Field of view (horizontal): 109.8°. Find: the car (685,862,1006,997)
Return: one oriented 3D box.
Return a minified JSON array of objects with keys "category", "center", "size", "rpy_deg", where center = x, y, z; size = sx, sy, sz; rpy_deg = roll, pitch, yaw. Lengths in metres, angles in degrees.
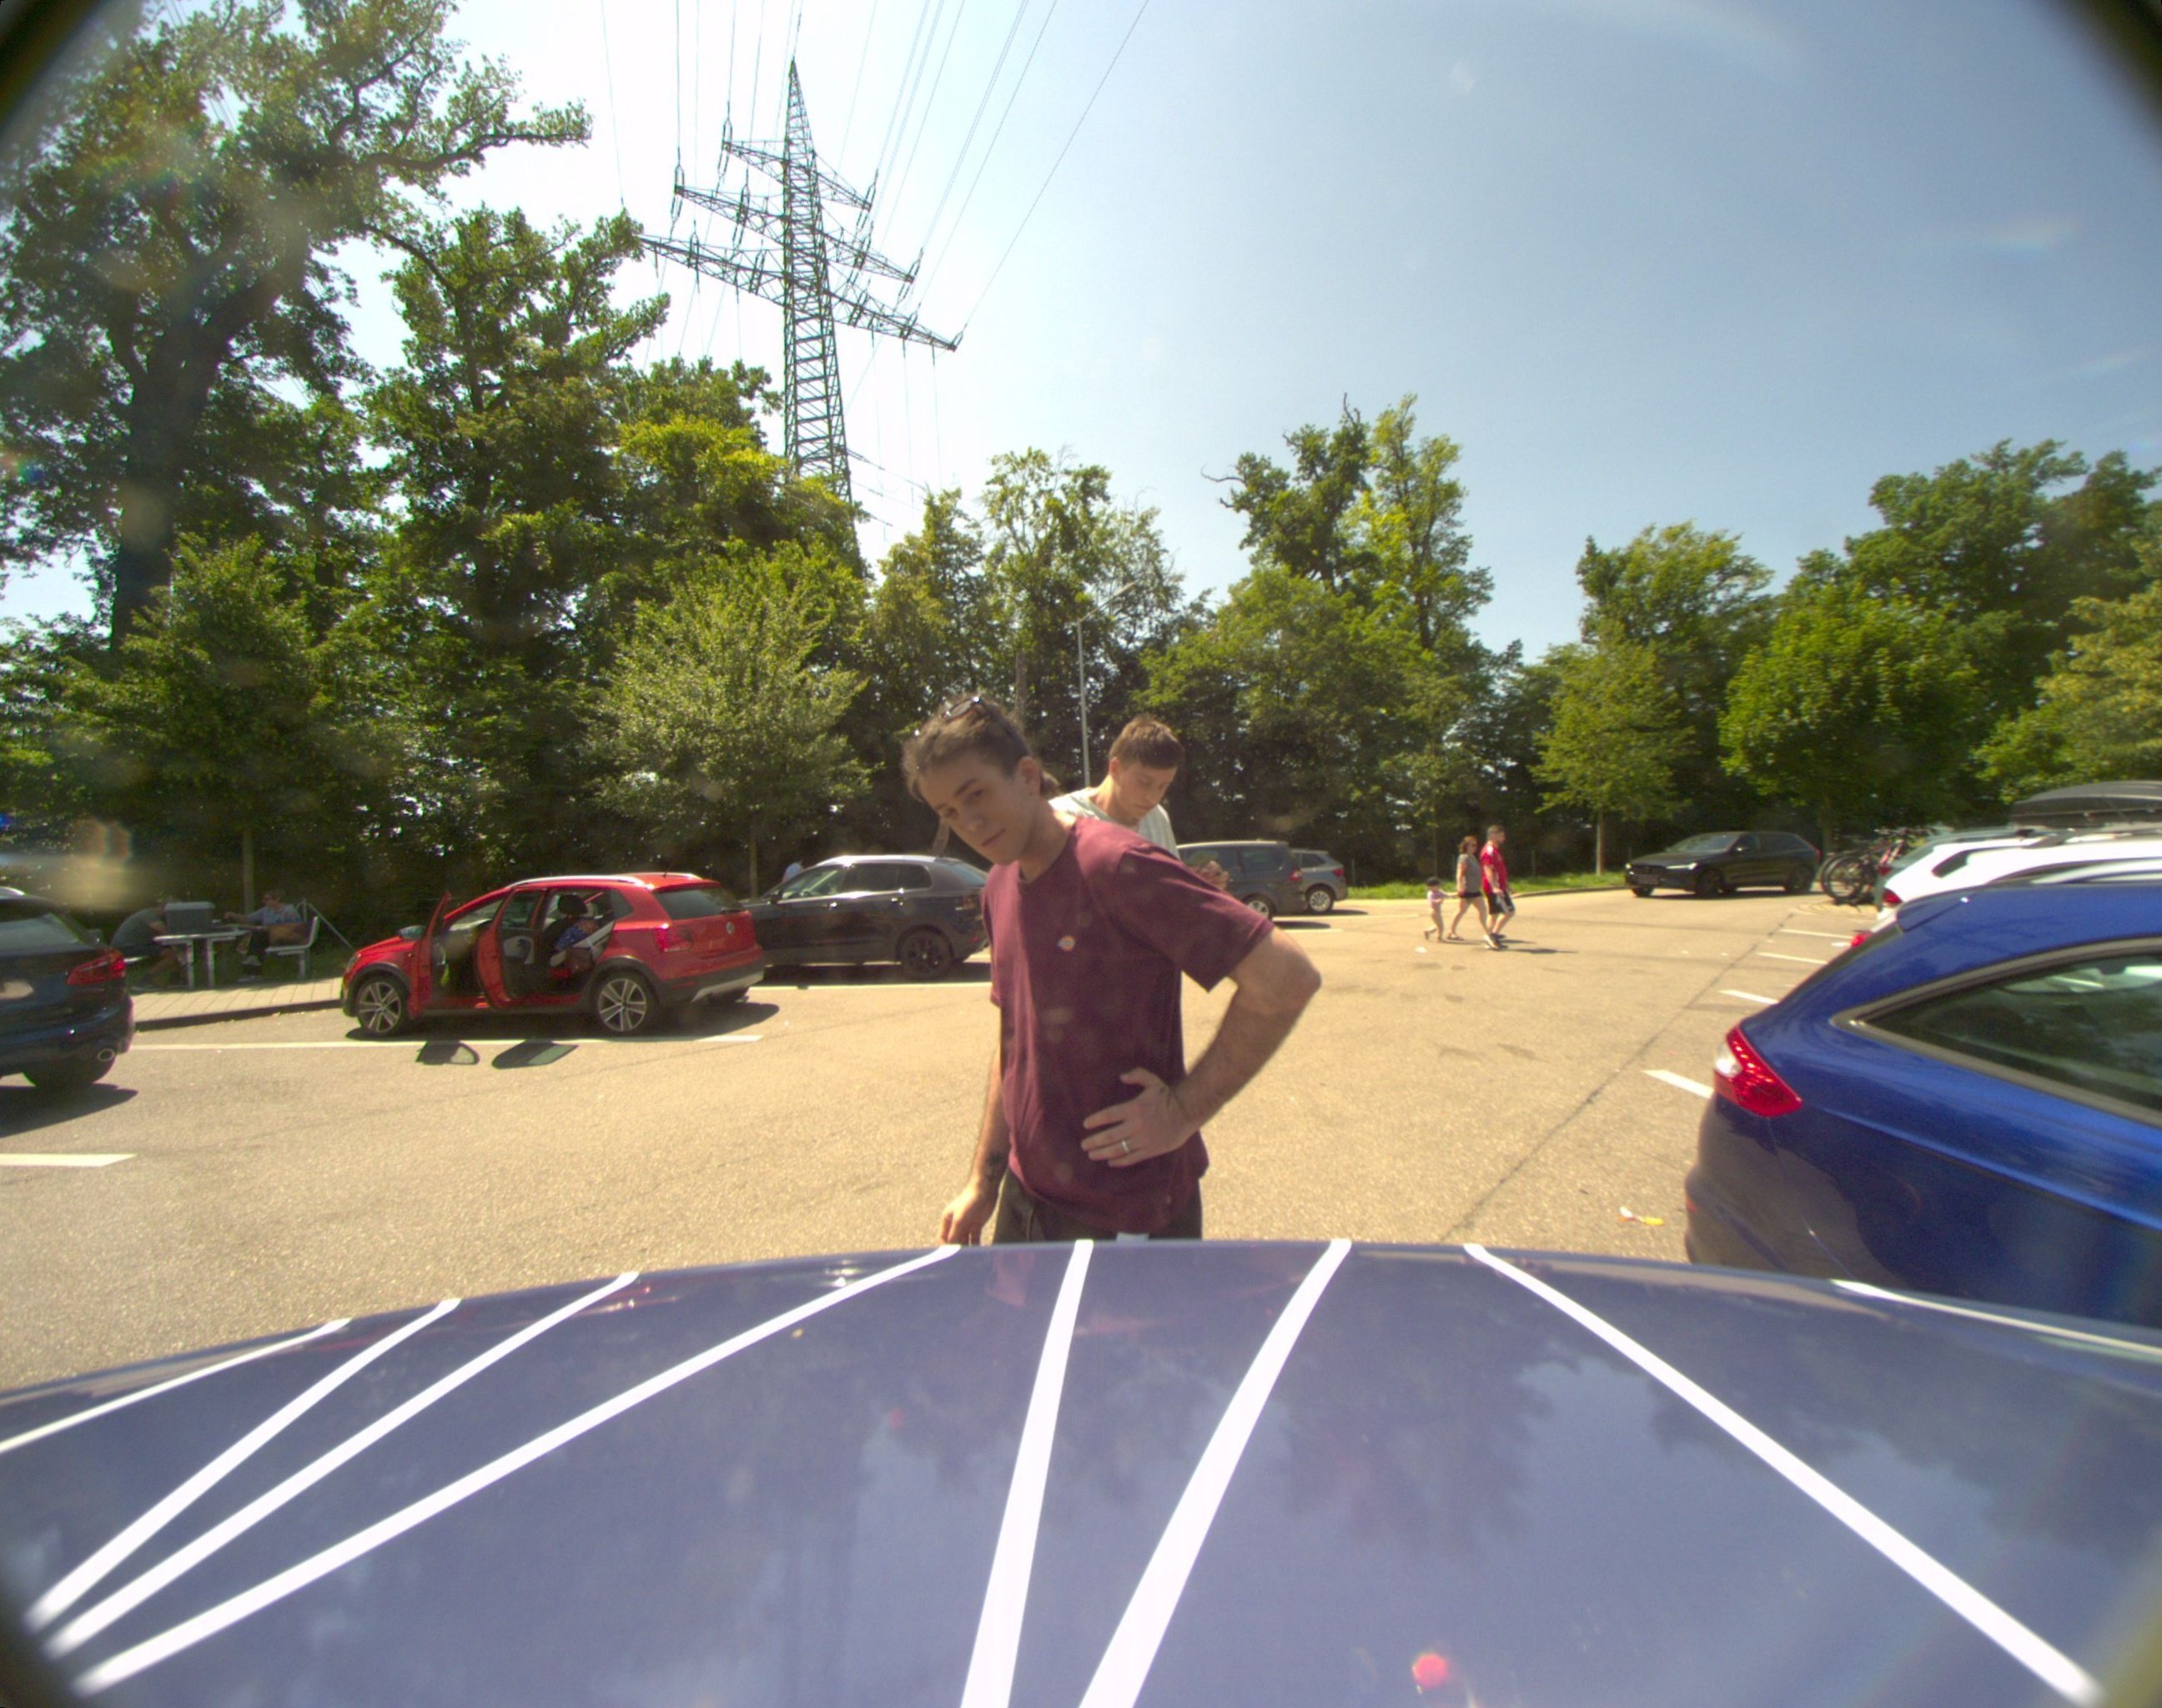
[{"category":"car","center":[-3.022,0.953,10.301],"size":[3.732,1.578,1.739],"rpy_deg":[-2,0,2]}]

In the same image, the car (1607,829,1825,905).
[{"category":"car","center":[16.347,0.289,19.639],"size":[4.619,1.703,1.997],"rpy_deg":[-2,1,-14]}]

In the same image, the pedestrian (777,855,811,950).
[{"category":"pedestrian","center":[-5.740,0.950,15.232],"size":[0.521,1.821,0.764],"rpy_deg":[-3,1,-18]}]

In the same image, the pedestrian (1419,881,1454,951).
[{"category":"pedestrian","center":[5.514,0.956,11.801],"size":[0.433,1.038,0.440],"rpy_deg":[-2,0,21]}]

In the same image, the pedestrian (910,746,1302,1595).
[{"category":"pedestrian","center":[0.037,0.725,2.131],"size":[0.861,1.940,0.688],"rpy_deg":[-2,1,-7]}]

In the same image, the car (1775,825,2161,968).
[{"category":"car","center":[12.551,0.482,10.356],"size":[1.777,1.541,4.493],"rpy_deg":[-3,-1,-5]}]

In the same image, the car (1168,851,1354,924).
[{"category":"car","center":[4.154,0.748,17.996],"size":[3.996,1.495,1.687],"rpy_deg":[-2,1,3]}]

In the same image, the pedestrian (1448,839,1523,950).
[{"category":"pedestrian","center":[6.234,0.621,11.749],"size":[0.832,1.653,0.676],"rpy_deg":[-2,0,13]}]

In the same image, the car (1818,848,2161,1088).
[{"category":"car","center":[7.486,0.678,4.499],"size":[1.776,1.418,4.495],"rpy_deg":[-3,-1,-1]}]

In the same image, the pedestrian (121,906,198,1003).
[{"category":"pedestrian","center":[-12.621,1.345,10.425],"size":[0.695,1.228,0.588],"rpy_deg":[-3,0,43]}]

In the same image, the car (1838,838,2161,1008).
[{"category":"car","center":[10.119,0.575,6.885],"size":[1.777,1.418,4.493],"rpy_deg":[-3,-1,-5]}]

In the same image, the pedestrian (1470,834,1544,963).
[{"category":"pedestrian","center":[5.958,0.607,10.645],"size":[0.831,1.722,0.677],"rpy_deg":[-2,1,29]}]

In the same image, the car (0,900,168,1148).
[{"category":"car","center":[-8.875,1.166,4.979],"size":[3.934,1.534,1.812],"rpy_deg":[-2,0,7]}]

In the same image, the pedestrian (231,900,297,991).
[{"category":"pedestrian","center":[-11.940,1.311,11.114],"size":[0.695,1.228,0.588],"rpy_deg":[-3,0,43]}]

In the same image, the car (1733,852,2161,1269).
[{"category":"car","center":[4.883,0.745,2.340],"size":[1.776,1.491,4.495],"rpy_deg":[-3,-1,-1]}]

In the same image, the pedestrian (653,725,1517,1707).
[{"category":"pedestrian","center":[0.014,0.786,1.231],"size":[0.864,1.823,0.861],"rpy_deg":[-2,1,-4]}]

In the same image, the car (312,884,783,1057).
[{"category":"car","center":[-5.179,1.095,7.623],"size":[3.730,1.440,1.591],"rpy_deg":[-2,0,7]}]

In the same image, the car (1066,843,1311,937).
[{"category":"car","center":[2.150,0.717,15.457],"size":[4.619,1.701,1.740],"rpy_deg":[-2,0,9]}]
